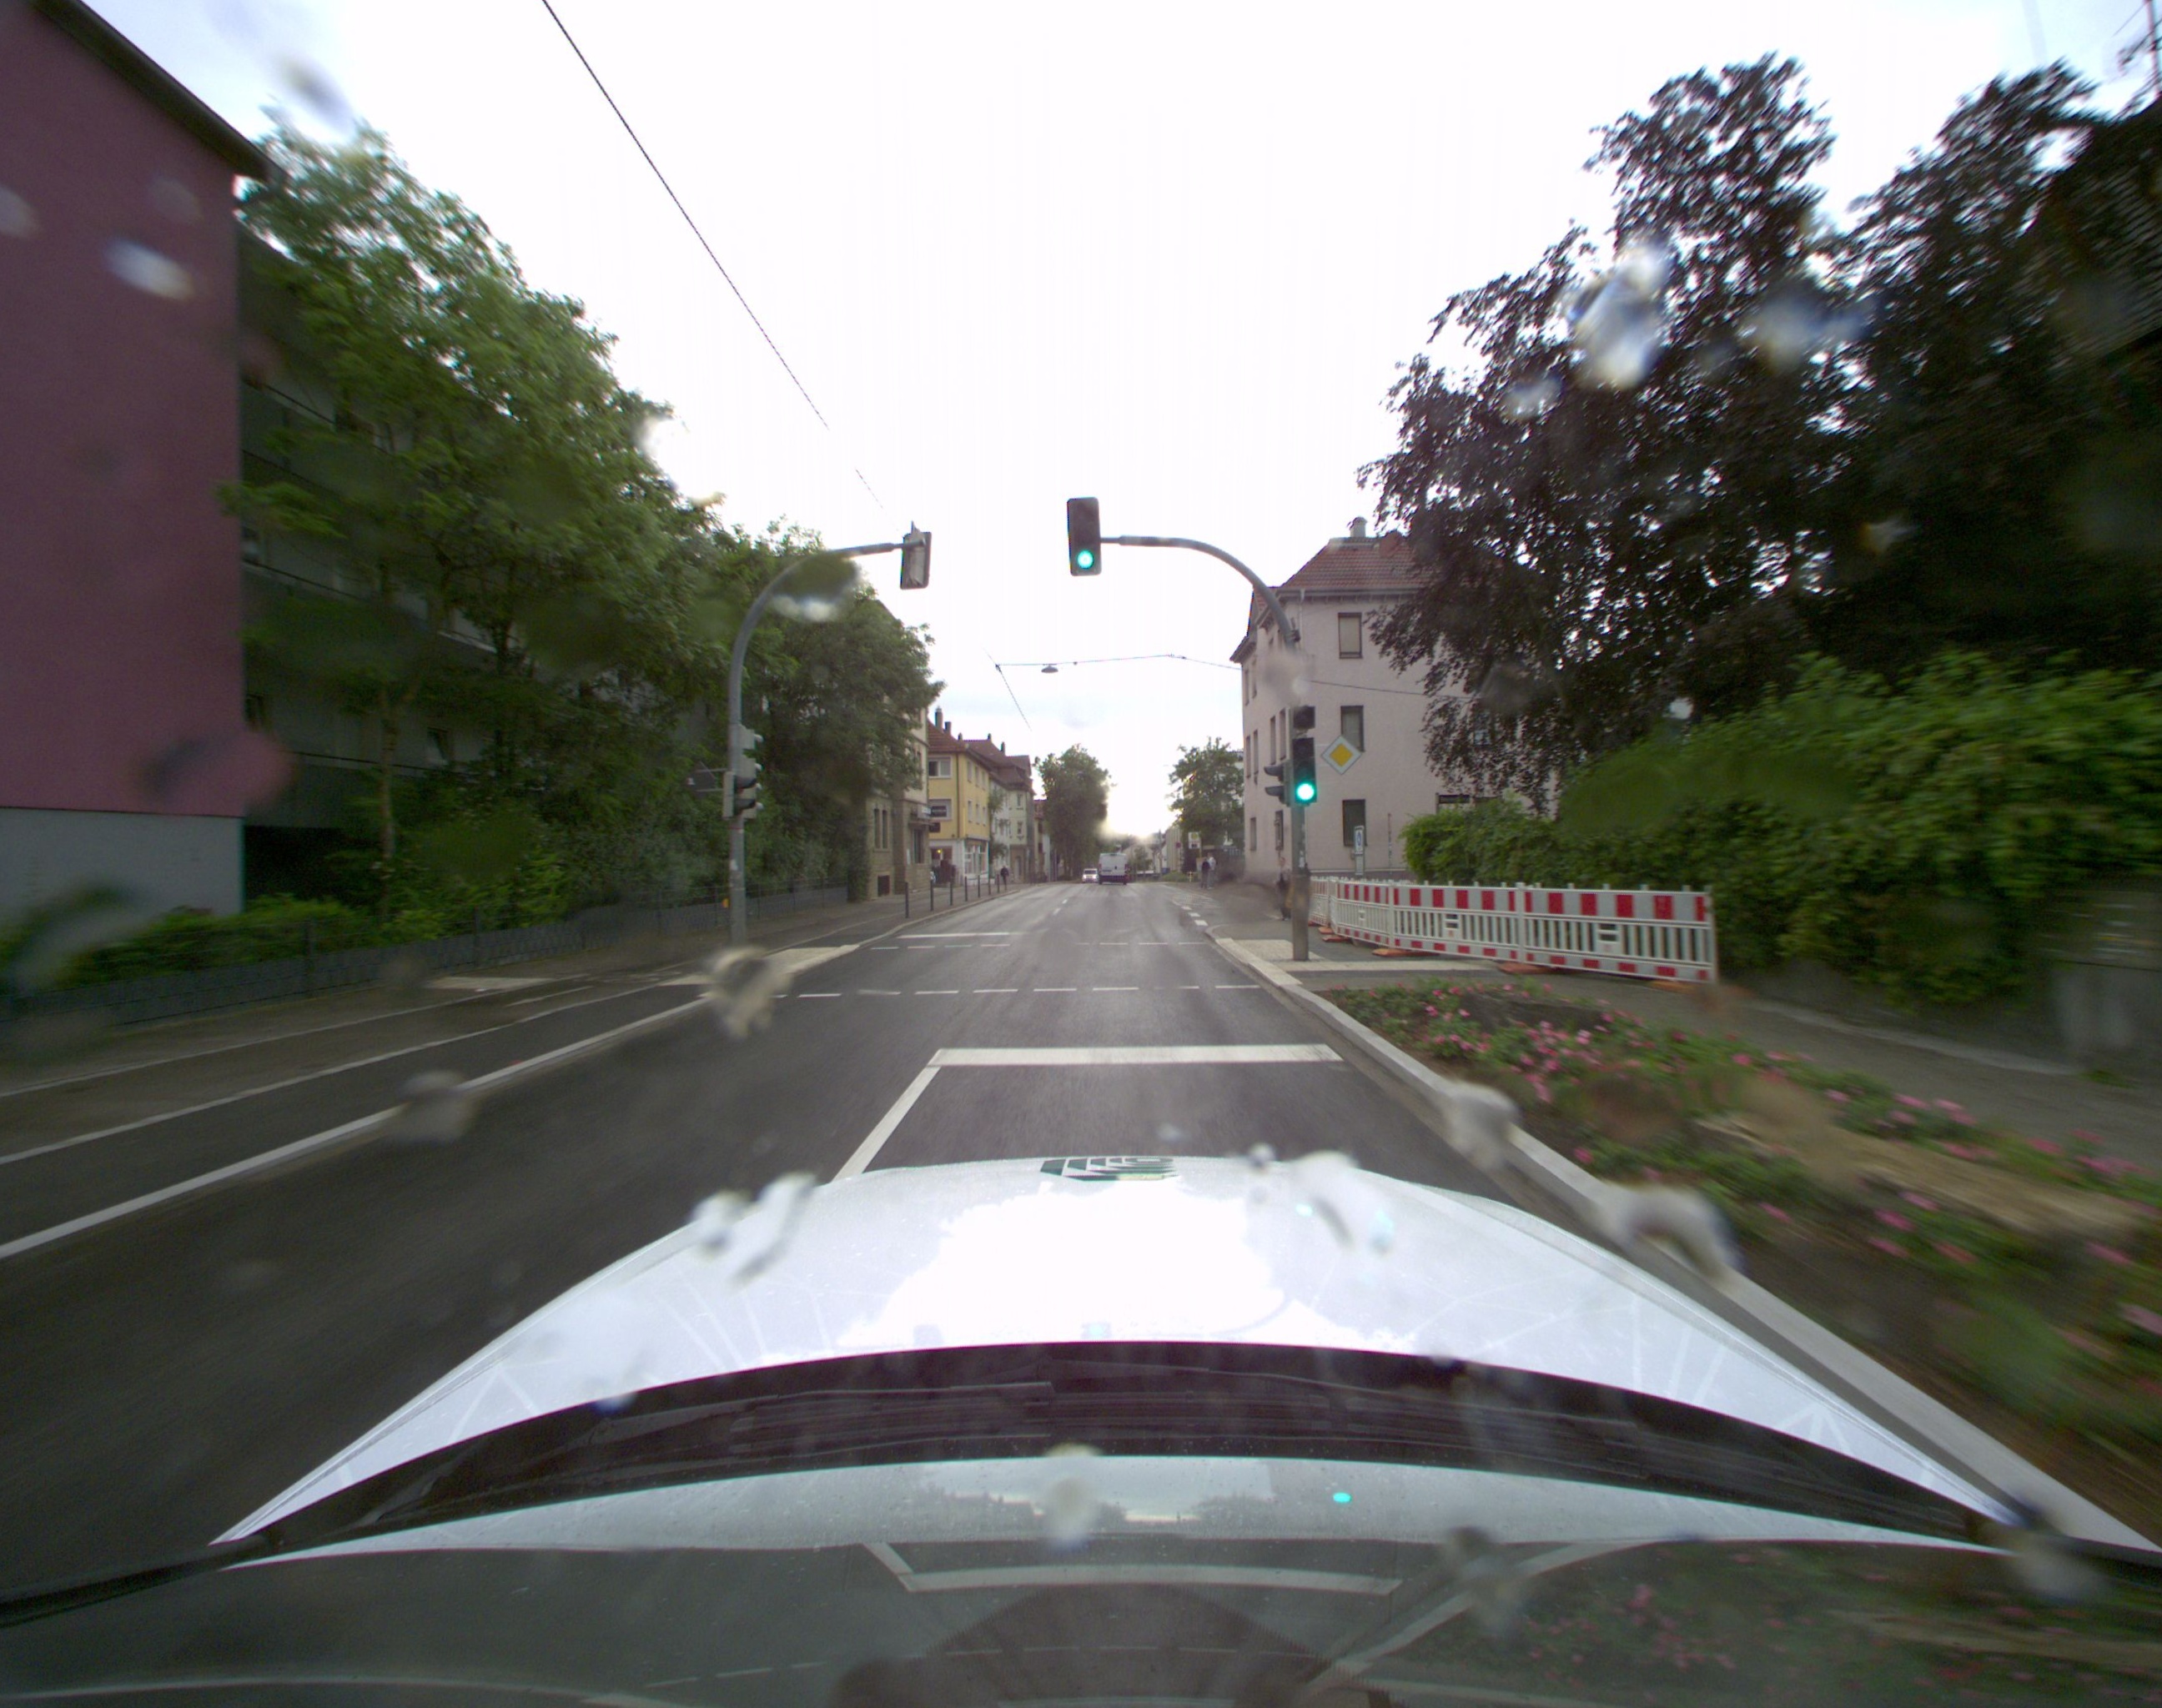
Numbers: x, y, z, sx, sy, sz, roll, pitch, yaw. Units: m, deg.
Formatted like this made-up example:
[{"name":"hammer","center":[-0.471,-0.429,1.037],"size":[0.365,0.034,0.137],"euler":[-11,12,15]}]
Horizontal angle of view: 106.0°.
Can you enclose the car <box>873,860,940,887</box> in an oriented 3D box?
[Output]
[{"name":"car","center":[-10.498,1.166,49.161],"size":[3.553,1.486,1.947],"euler":[1,-1,0]}]

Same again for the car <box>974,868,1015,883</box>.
[{"name":"car","center":[-9.019,2.244,85.573],"size":[3.973,1.453,2.000],"euler":[2,-1,1]}]

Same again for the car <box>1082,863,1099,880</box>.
[{"name":"car","center":[1.118,2.102,95.302],"size":[1.874,1.870,4.455],"euler":[-2,-2,2]}]

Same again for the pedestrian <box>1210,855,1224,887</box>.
[{"name":"pedestrian","center":[7.370,0.919,44.083],"size":[0.442,1.708,0.561],"euler":[-4,-1,29]}]

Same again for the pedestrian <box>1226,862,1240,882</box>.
[{"name":"pedestrian","center":[9.302,1.086,49.743],"size":[0.659,1.199,0.740],"euler":[-2,-1,-4]}]

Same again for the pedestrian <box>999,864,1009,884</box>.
[{"name":"pedestrian","center":[-6.637,1.721,70.195],"size":[0.813,1.679,0.992],"euler":[0,-2,-1]}]

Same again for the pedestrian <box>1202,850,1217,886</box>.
[{"name":"pedestrian","center":[6.865,0.764,43.514],"size":[0.482,1.875,0.637],"euler":[-4,-1,32]}]

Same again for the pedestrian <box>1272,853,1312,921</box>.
[{"name":"pedestrian","center":[5.034,0.771,19.415],"size":[0.868,1.561,1.054],"euler":[0,-1,17]}]

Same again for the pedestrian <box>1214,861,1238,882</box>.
[{"name":"pedestrian","center":[9.124,1.080,51.283],"size":[1.352,1.273,0.740],"euler":[-2,-1,-4]}]

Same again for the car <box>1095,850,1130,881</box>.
[{"name":"car","center":[2.278,0.840,60.023],"size":[2.339,2.160,4.776],"euler":[-1,0,0]}]

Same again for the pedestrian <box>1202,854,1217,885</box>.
[{"name":"pedestrian","center":[7.406,0.871,47.045],"size":[0.659,1.741,0.828],"euler":[-2,-1,-3]}]

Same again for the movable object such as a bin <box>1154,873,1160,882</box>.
[{"name":"movable object such as a bin","center":[10.021,3.114,107.930],"size":[0.692,1.082,0.779],"euler":[-4,-2,3]}]

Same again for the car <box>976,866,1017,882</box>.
[{"name":"car","center":[-9.430,2.236,91.089],"size":[4.166,1.588,2.001],"euler":[2,-1,2]}]

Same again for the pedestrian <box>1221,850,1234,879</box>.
[{"name":"pedestrian","center":[9.475,0.694,52.611],"size":[0.641,1.831,0.745],"euler":[-2,-1,16]}]

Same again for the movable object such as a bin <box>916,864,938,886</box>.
[{"name":"movable object such as a bin","center":[-10.241,1.378,54.058],"size":[1.241,1.439,0.983],"euler":[0,-1,1]}]

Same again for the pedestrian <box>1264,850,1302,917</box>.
[{"name":"pedestrian","center":[5.133,0.740,20.746],"size":[0.780,1.642,1.224],"euler":[0,-1,6]}]

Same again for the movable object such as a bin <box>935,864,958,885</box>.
[{"name":"movable object such as a bin","center":[-8.924,1.347,54.055],"size":[1.296,1.402,0.984],"euler":[0,-1,1]}]

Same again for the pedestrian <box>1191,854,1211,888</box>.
[{"name":"pedestrian","center":[6.344,0.894,43.037],"size":[0.639,1.710,0.741],"euler":[-3,-1,-32]}]
